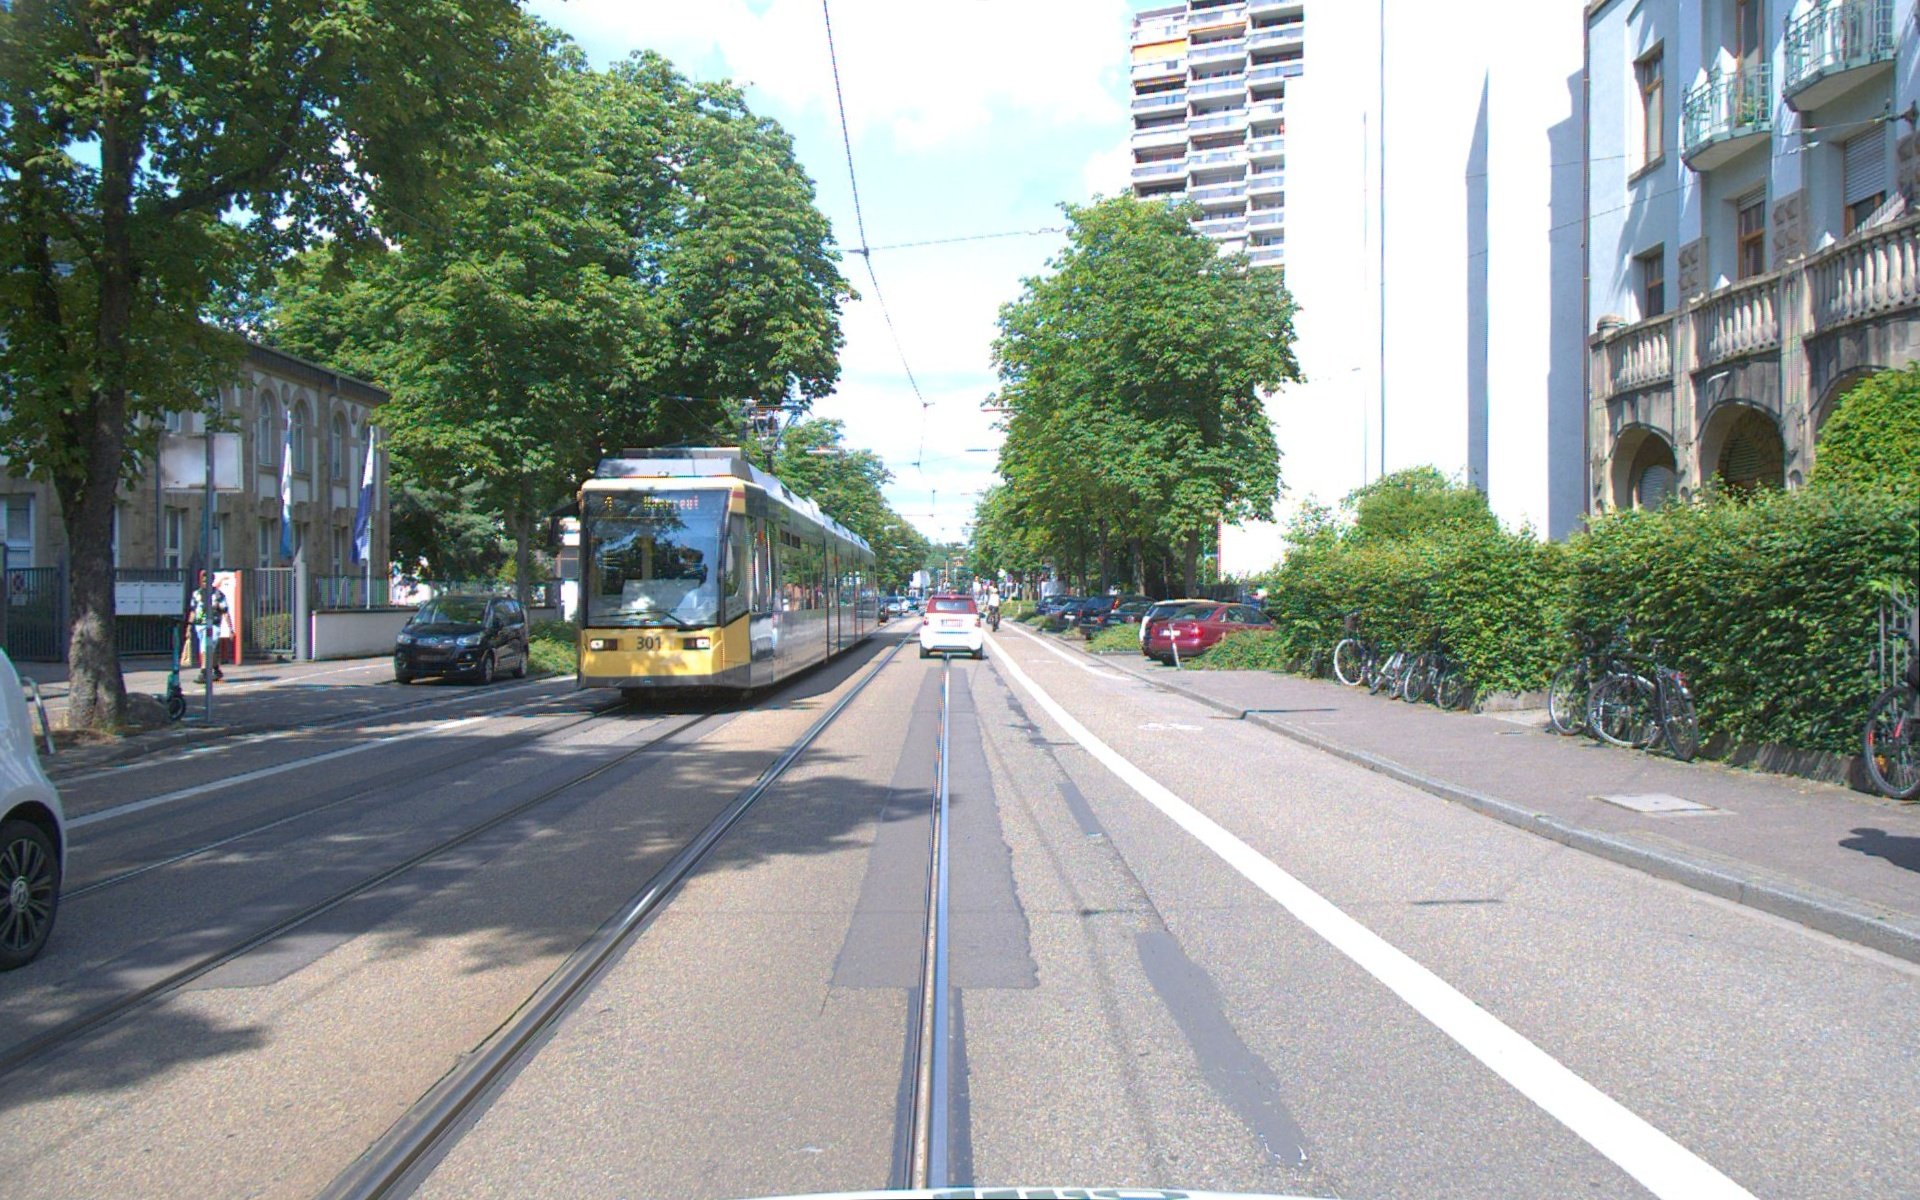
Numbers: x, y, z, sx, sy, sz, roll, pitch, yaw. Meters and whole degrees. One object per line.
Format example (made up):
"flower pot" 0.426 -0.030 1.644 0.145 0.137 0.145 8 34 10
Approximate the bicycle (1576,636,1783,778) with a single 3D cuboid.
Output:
"bicycle" 5.876 0.834 13.674 0.598 1.013 2.362 -3 0 -1

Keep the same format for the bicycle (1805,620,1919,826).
"bicycle" 6.242 0.759 10.210 0.725 1.252 2.515 0 0 -1

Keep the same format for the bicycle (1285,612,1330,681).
"bicycle" 5.956 0.778 28.420 0.274 1.128 2.010 -3 0 0

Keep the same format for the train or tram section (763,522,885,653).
"train or tram section" -3.941 -0.291 51.115 2.598 3.414 14.106 -2 0 0

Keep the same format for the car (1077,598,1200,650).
"car" 5.907 0.804 54.392 3.967 1.602 1.876 2 0 -43

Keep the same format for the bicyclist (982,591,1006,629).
"bicyclist" 1.445 0.425 70.365 0.871 1.555 1.086 2 -1 6

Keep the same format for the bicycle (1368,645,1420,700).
"bicycle" 6.021 0.990 22.990 0.274 0.689 1.559 -3 0 -1

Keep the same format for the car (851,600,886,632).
"car" -5.183 0.882 94.194 1.788 1.757 4.390 1 0 -1

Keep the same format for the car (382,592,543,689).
"car" -9.391 0.738 31.581 1.770 1.670 4.330 2 0 -1

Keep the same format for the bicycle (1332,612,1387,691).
"bicycle" 5.998 0.755 24.902 0.274 1.128 2.010 -3 0 0

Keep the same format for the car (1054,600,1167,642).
"car" 5.882 0.833 64.337 1.997 1.467 4.505 1 -1 44

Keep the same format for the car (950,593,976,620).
"car" 0.171 0.409 104.797 1.631 1.653 3.620 0 0 -1

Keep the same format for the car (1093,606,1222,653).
"car" 6.172 0.918 51.458 1.873 1.373 4.146 1 0 44

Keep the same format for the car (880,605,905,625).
"car" -5.104 1.138 125.307 1.737 1.441 3.851 -3 0 -1

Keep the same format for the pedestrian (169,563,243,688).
"pedestrian" -12.722 0.429 27.925 0.807 2.049 0.825 2 -1 -1

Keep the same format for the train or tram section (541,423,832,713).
"train or tram section" -3.865 -0.357 26.624 2.598 3.496 12.313 -2 0 0

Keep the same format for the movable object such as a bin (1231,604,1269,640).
"movable object such as a bin" 11.258 0.848 64.261 1.249 1.341 1.325 1 -1 0

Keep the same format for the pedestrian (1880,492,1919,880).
"pedestrian" 5.054 0.411 8.046 0.773 1.894 0.579 -2 0 -8

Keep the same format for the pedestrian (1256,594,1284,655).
"pedestrian" 9.791 0.758 52.270 0.744 1.906 1.003 0 0 5

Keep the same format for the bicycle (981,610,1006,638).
"bicycle" 1.431 1.006 70.215 0.856 1.145 2.137 2 0 5

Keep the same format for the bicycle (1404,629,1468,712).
"bicycle" 5.986 0.865 20.835 0.268 0.922 1.668 -3 1 -1

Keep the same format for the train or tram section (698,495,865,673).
"train or tram section" -3.871 -0.278 38.457 2.598 3.448 11.471 -2 0 0

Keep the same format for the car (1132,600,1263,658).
"car" 6.472 0.777 44.748 1.509 1.486 3.973 0 0 44

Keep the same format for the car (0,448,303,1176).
"car" -4.490 0.745 5.469 2.269 2.551 6.361 0 0 -2

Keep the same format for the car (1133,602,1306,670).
"car" 6.034 0.795 38.178 4.127 1.448 1.837 0 0 -43

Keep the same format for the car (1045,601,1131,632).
"car" 6.284 0.819 80.896 4.200 1.445 1.700 1 1 -39

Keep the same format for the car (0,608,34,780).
"car" -9.244 0.793 13.161 1.621 1.511 3.807 2 -1 -1

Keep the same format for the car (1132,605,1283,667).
"car" 6.227 0.879 41.354 3.968 1.474 1.672 1 0 -43

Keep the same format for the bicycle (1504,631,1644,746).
"bicycle" 5.927 0.824 16.074 0.600 1.006 1.872 -2 0 -1

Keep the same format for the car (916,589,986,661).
"car" -0.220 0.588 41.679 1.631 1.653 3.621 2 1 0
